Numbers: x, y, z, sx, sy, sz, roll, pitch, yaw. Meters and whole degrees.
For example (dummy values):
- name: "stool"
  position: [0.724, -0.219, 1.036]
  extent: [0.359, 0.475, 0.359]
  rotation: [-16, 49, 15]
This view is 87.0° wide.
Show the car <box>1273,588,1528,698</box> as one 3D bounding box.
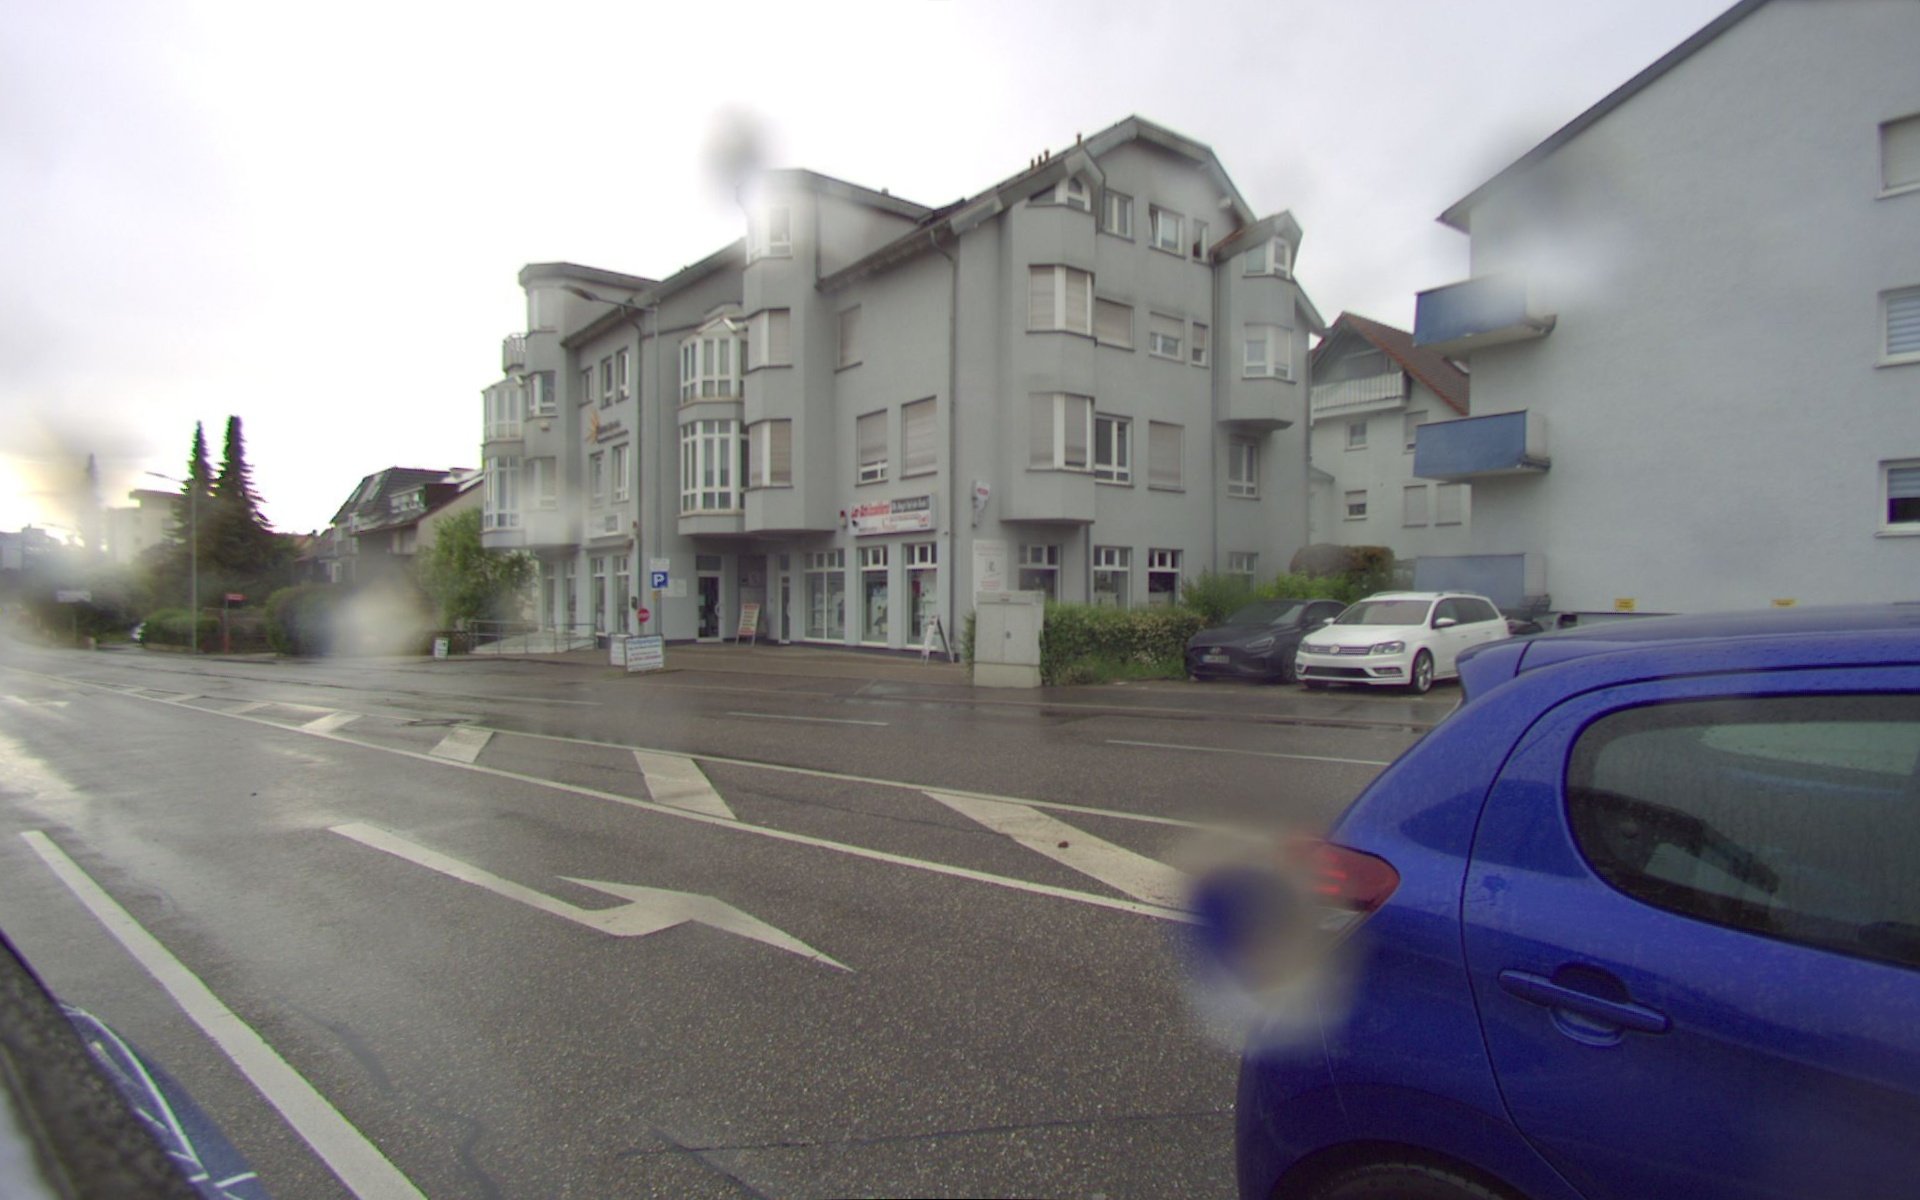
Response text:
- name: "car"
  position: [6.989, 0.601, 15.810]
  extent: [4.685, 1.471, 1.883]
  rotation: [0, -2, -42]

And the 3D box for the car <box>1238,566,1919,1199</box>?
- name: "car"
  position: [2.243, 0.642, 1.202]
  extent: [3.362, 1.423, 1.489]
  rotation: [-2, -1, 41]

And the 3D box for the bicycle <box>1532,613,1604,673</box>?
- name: "bicycle"
  position: [11.150, 0.789, 18.567]
  extent: [1.065, 1.061, 0.343]
  rotation: [-2, -1, 41]

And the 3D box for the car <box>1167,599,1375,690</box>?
- name: "car"
  position: [5.500, 0.687, 17.655]
  extent: [1.851, 1.366, 3.941]
  rotation: [-1, 0, 45]

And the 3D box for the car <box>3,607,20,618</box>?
- name: "car"
  position: [-165.647, 2.131, 176.695]
  extent: [4.001, 1.798, 1.972]
  rotation: [-1, 0, 43]
